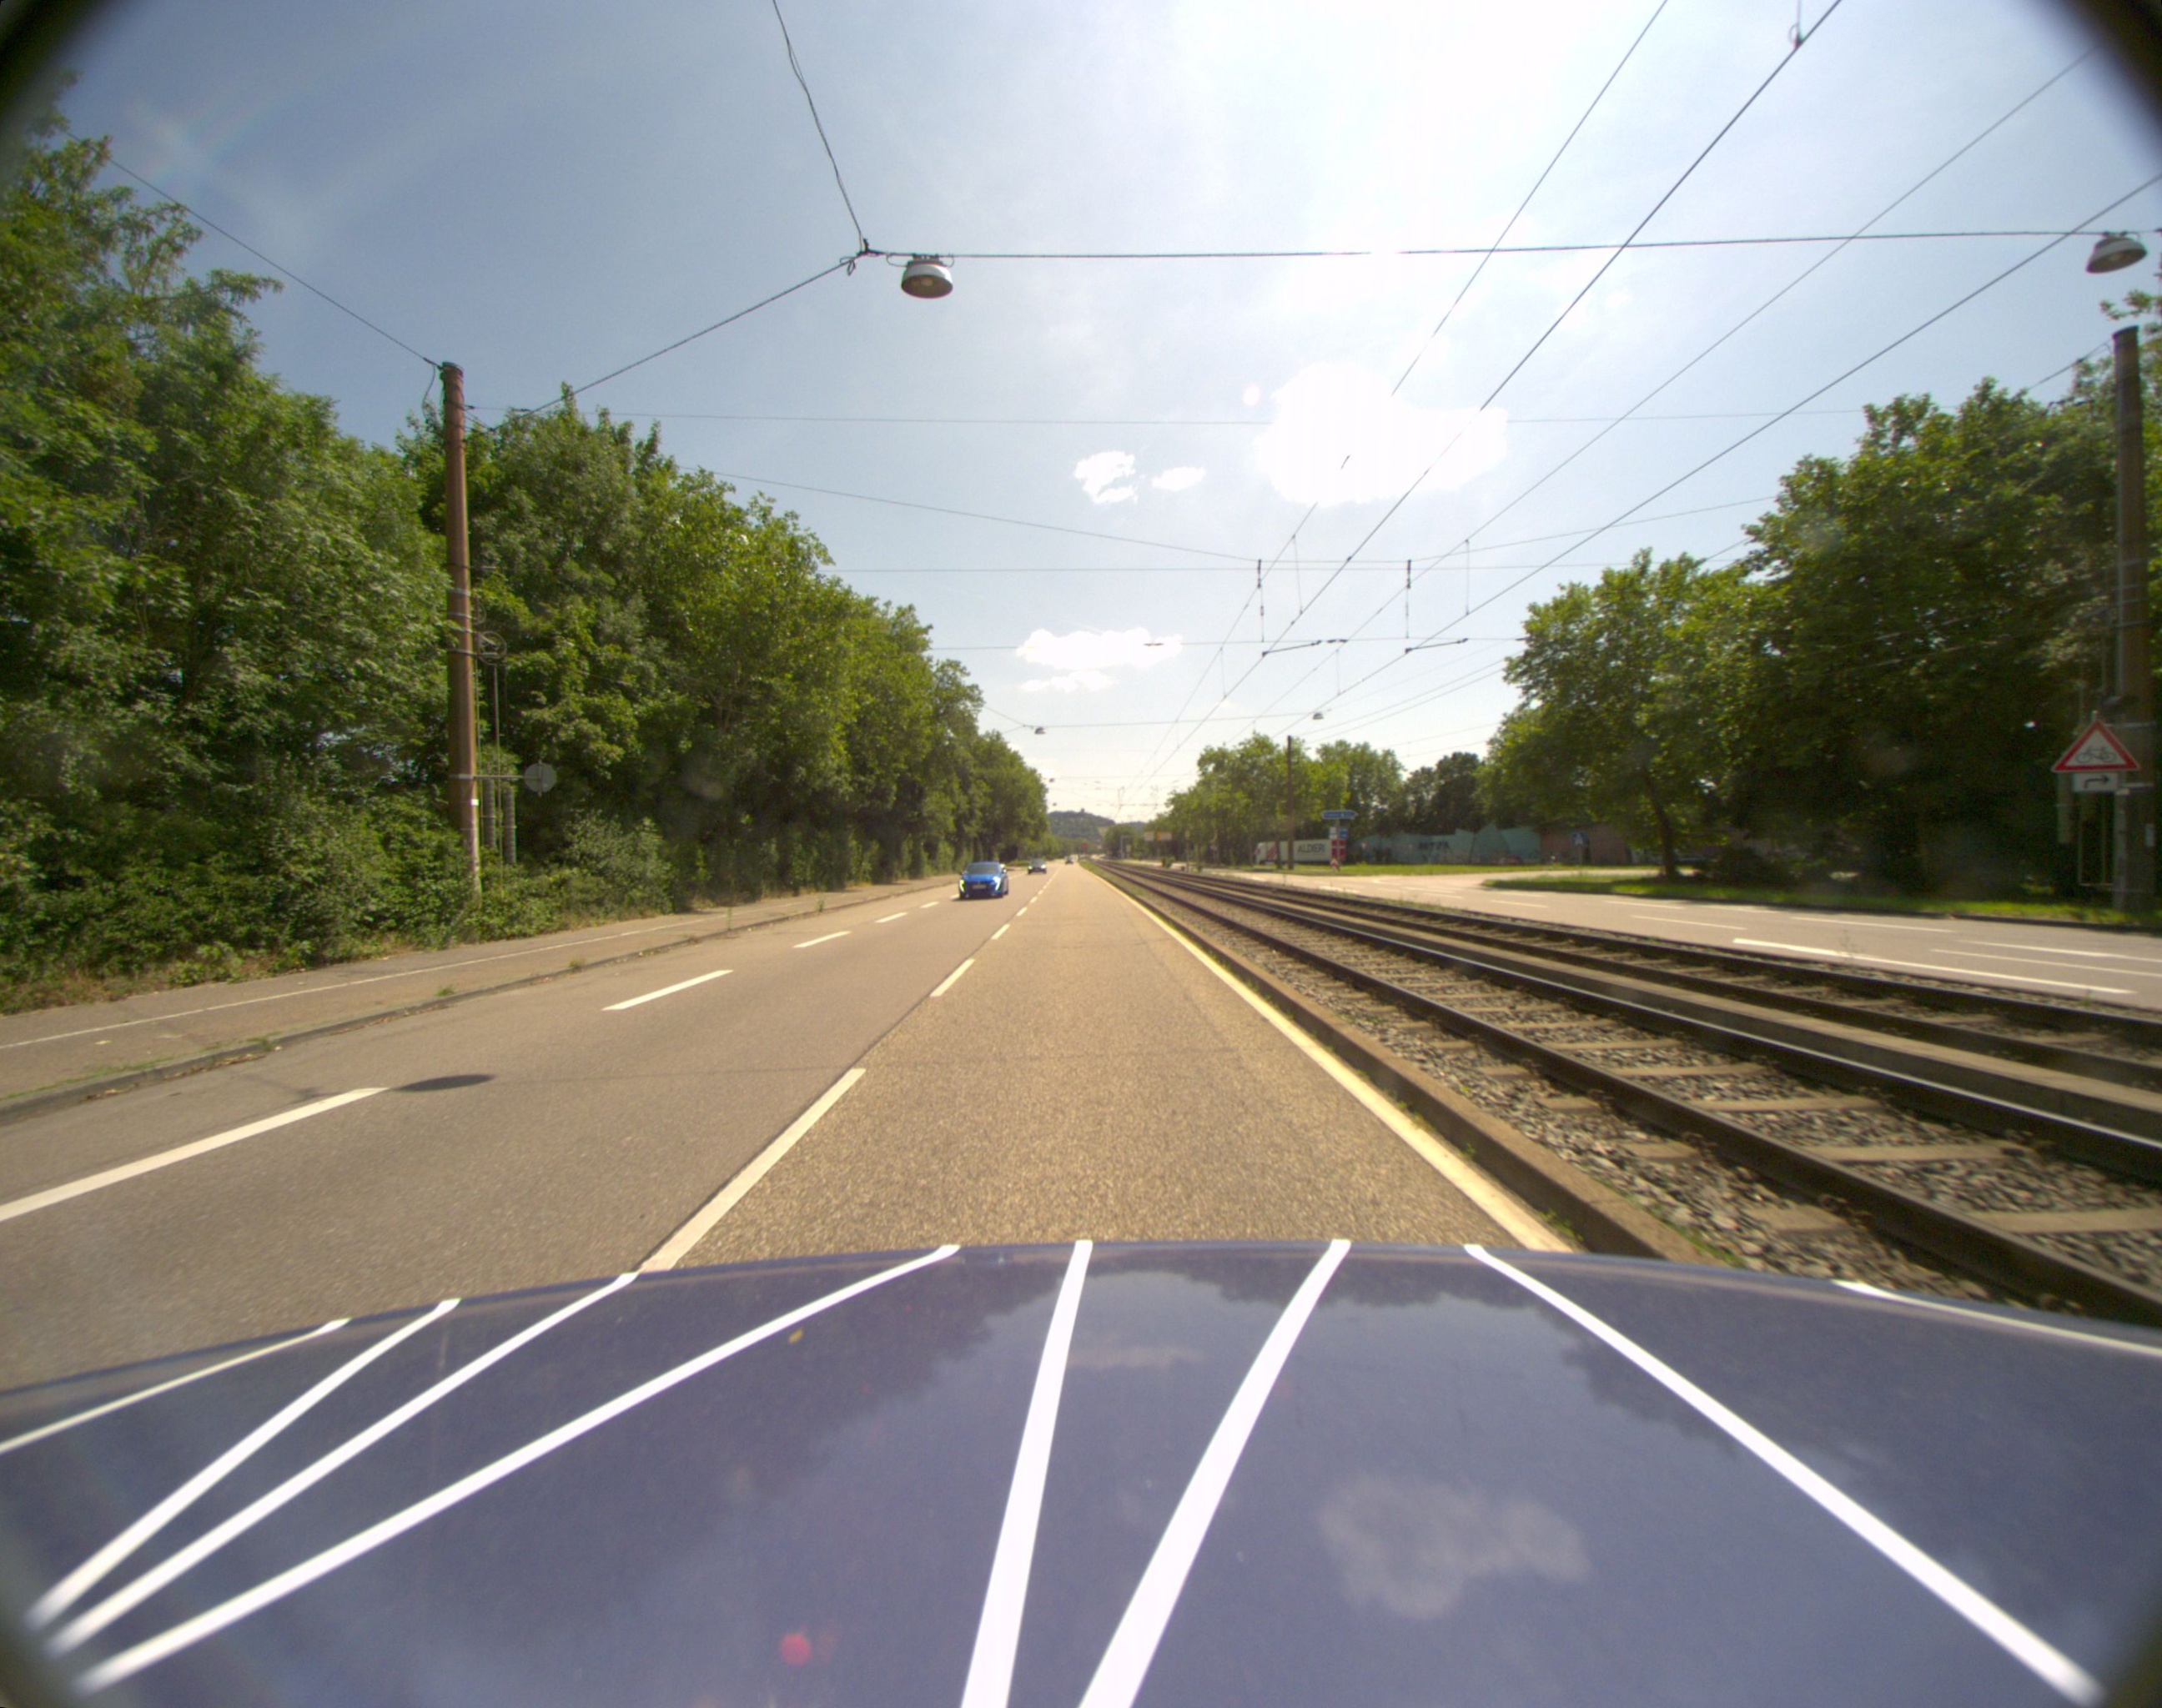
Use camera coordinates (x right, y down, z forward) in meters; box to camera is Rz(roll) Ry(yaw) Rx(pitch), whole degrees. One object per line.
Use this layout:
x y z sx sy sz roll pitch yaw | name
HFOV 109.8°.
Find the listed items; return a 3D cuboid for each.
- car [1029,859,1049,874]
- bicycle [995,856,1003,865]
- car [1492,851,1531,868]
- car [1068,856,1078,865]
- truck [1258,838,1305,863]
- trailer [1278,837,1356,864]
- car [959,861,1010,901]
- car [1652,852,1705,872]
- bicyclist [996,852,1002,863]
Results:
-4.139 1.226 75.404 1.770 1.359 3.743 -2 1 0 | car
-10.504 0.880 97.773 0.710 1.131 2.538 -1 0 1 | bicycle
46.394 0.619 81.947 1.567 1.781 3.392 -1 0 -26 | car
-1.813 1.405 166.515 1.999 2.002 3.999 -2 1 -1 | car
30.625 -0.472 116.227 3.423 3.680 6.745 -1 0 -26 | truck
33.851 -0.464 109.616 3.393 3.633 12.083 -1 0 -26 | trailer
-3.884 1.047 31.126 1.660 1.397 3.743 -2 1 -1 | car
53.547 0.712 68.162 1.567 1.781 3.392 -1 0 -26 | car
-10.517 0.495 97.800 0.704 1.431 0.641 -1 0 0 | bicyclist
